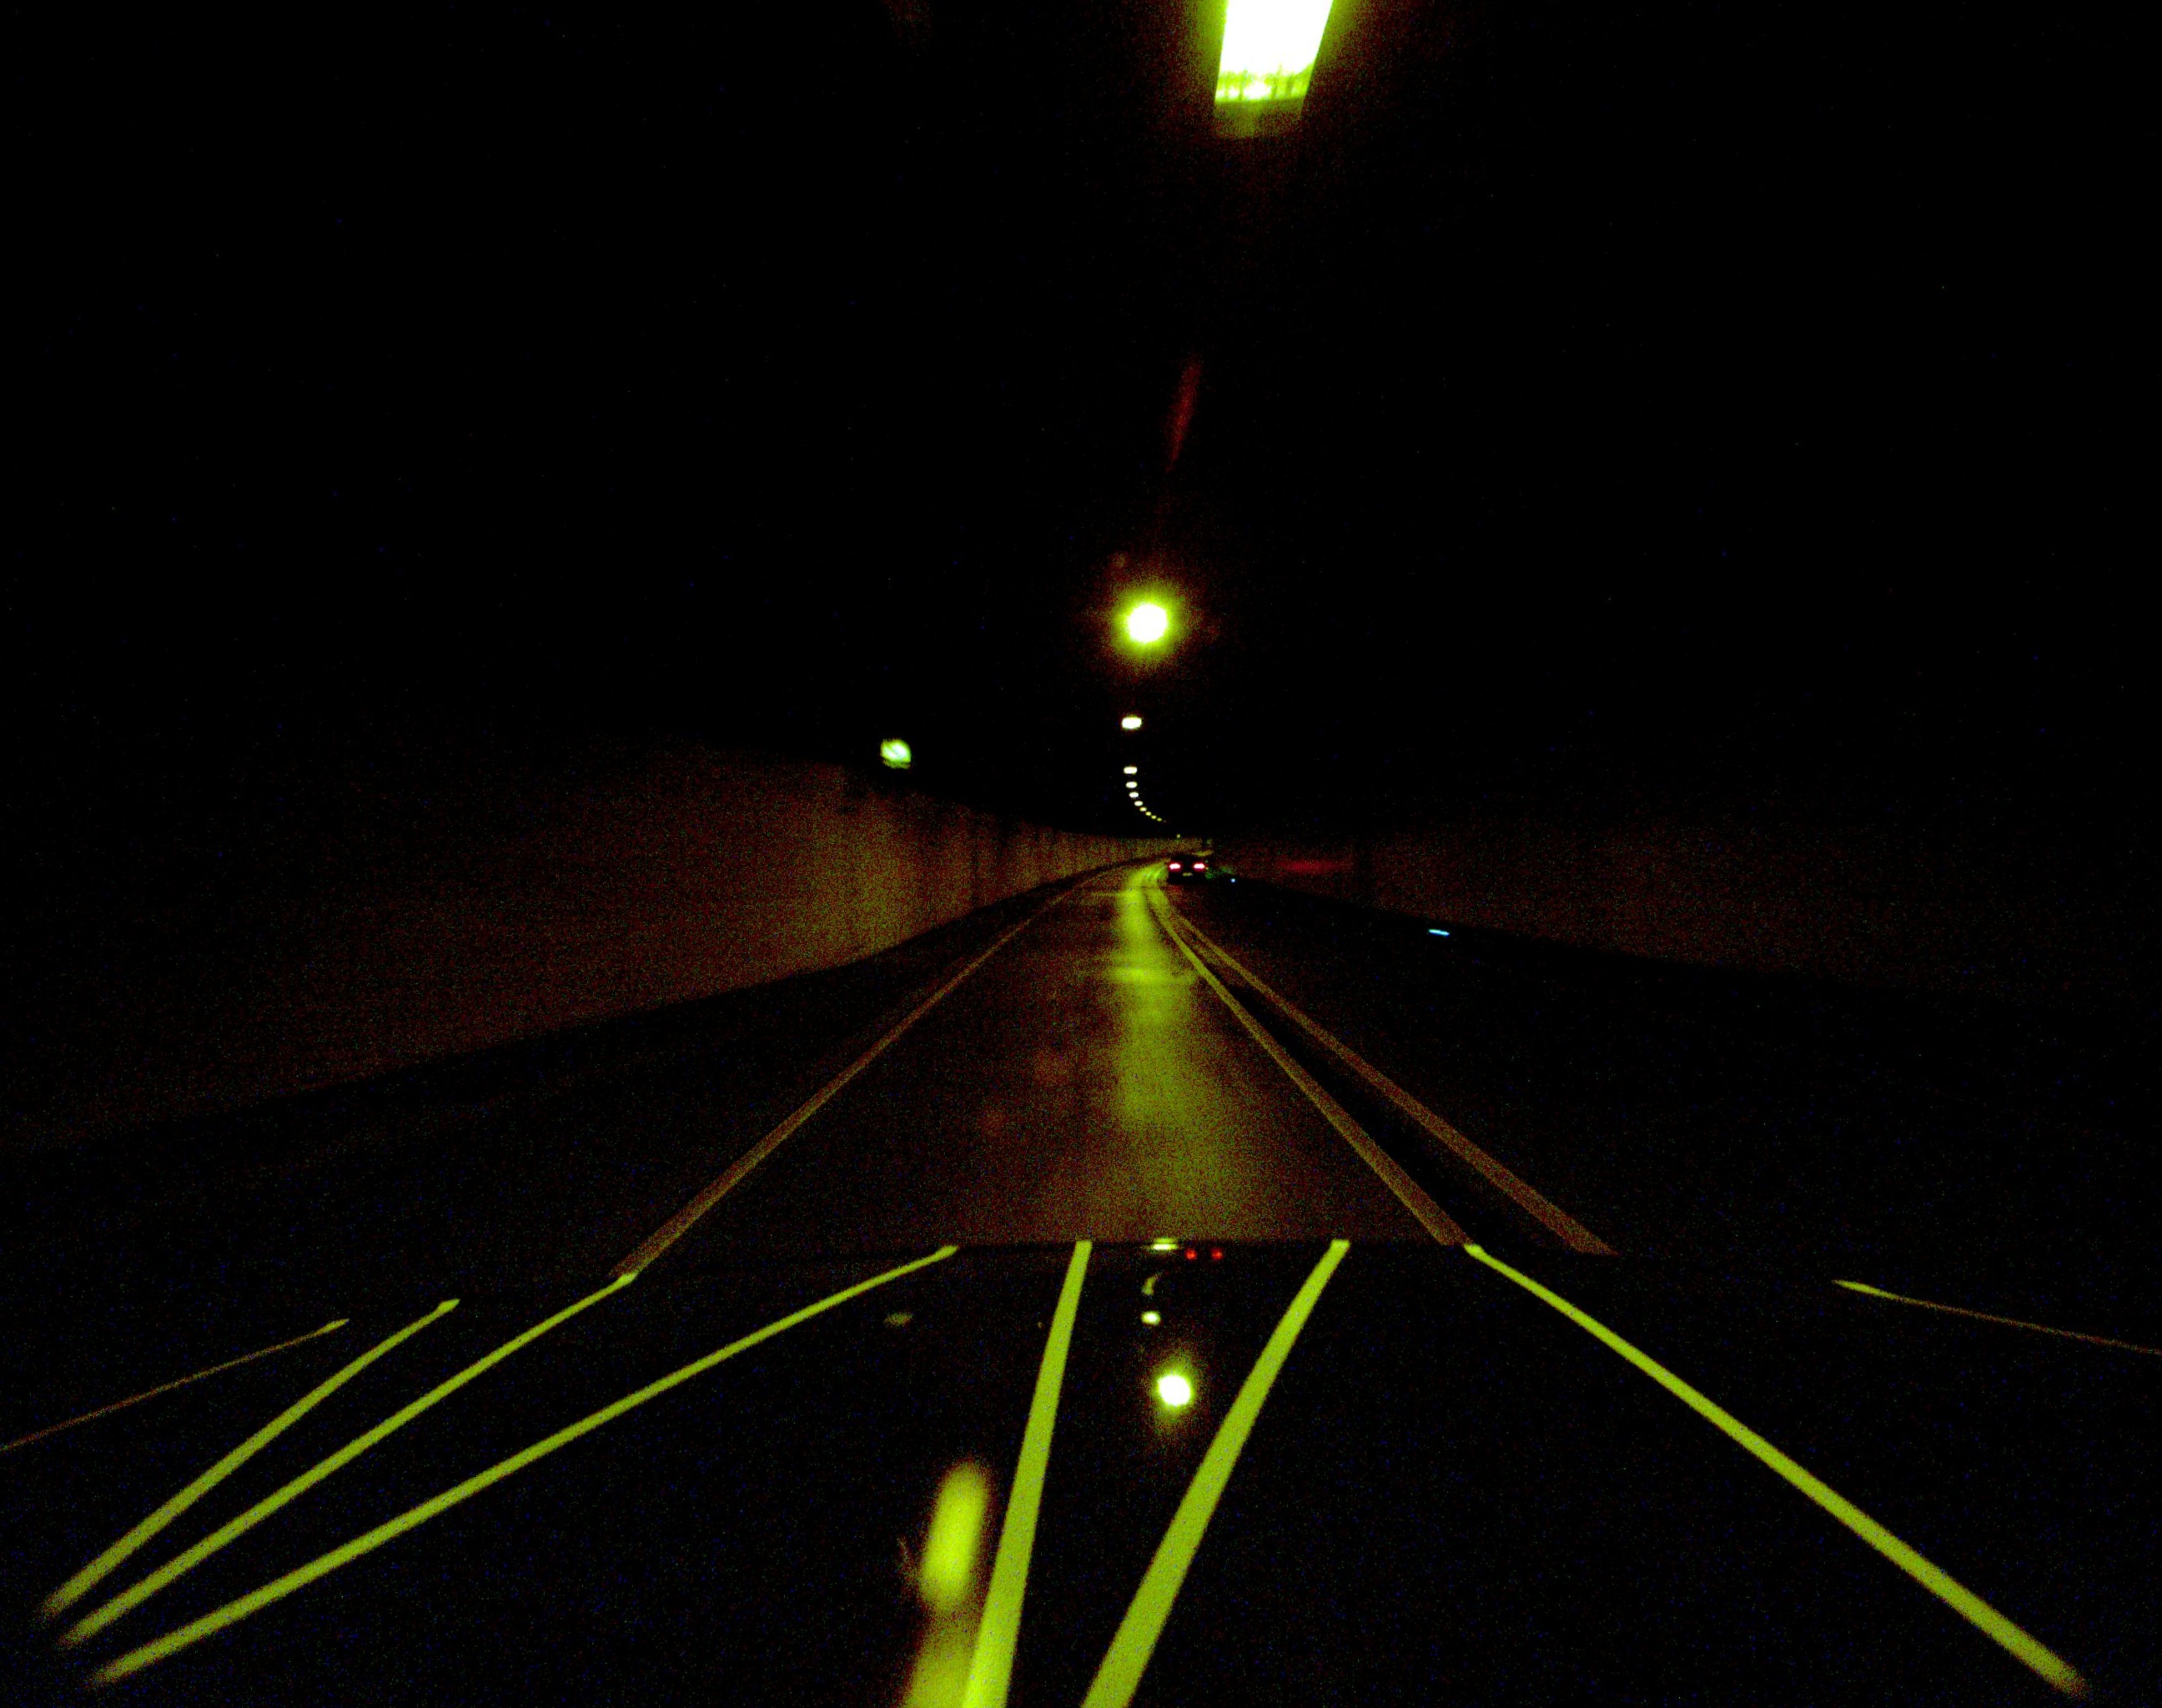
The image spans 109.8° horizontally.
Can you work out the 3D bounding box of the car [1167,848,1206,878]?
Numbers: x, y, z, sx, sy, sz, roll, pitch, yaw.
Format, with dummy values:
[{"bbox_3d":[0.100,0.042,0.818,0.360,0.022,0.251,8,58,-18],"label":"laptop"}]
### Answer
[{"bbox_3d":[5.280,0.411,38.296,1.711,1.407,4.118,0,0,5],"label":"car"}]
